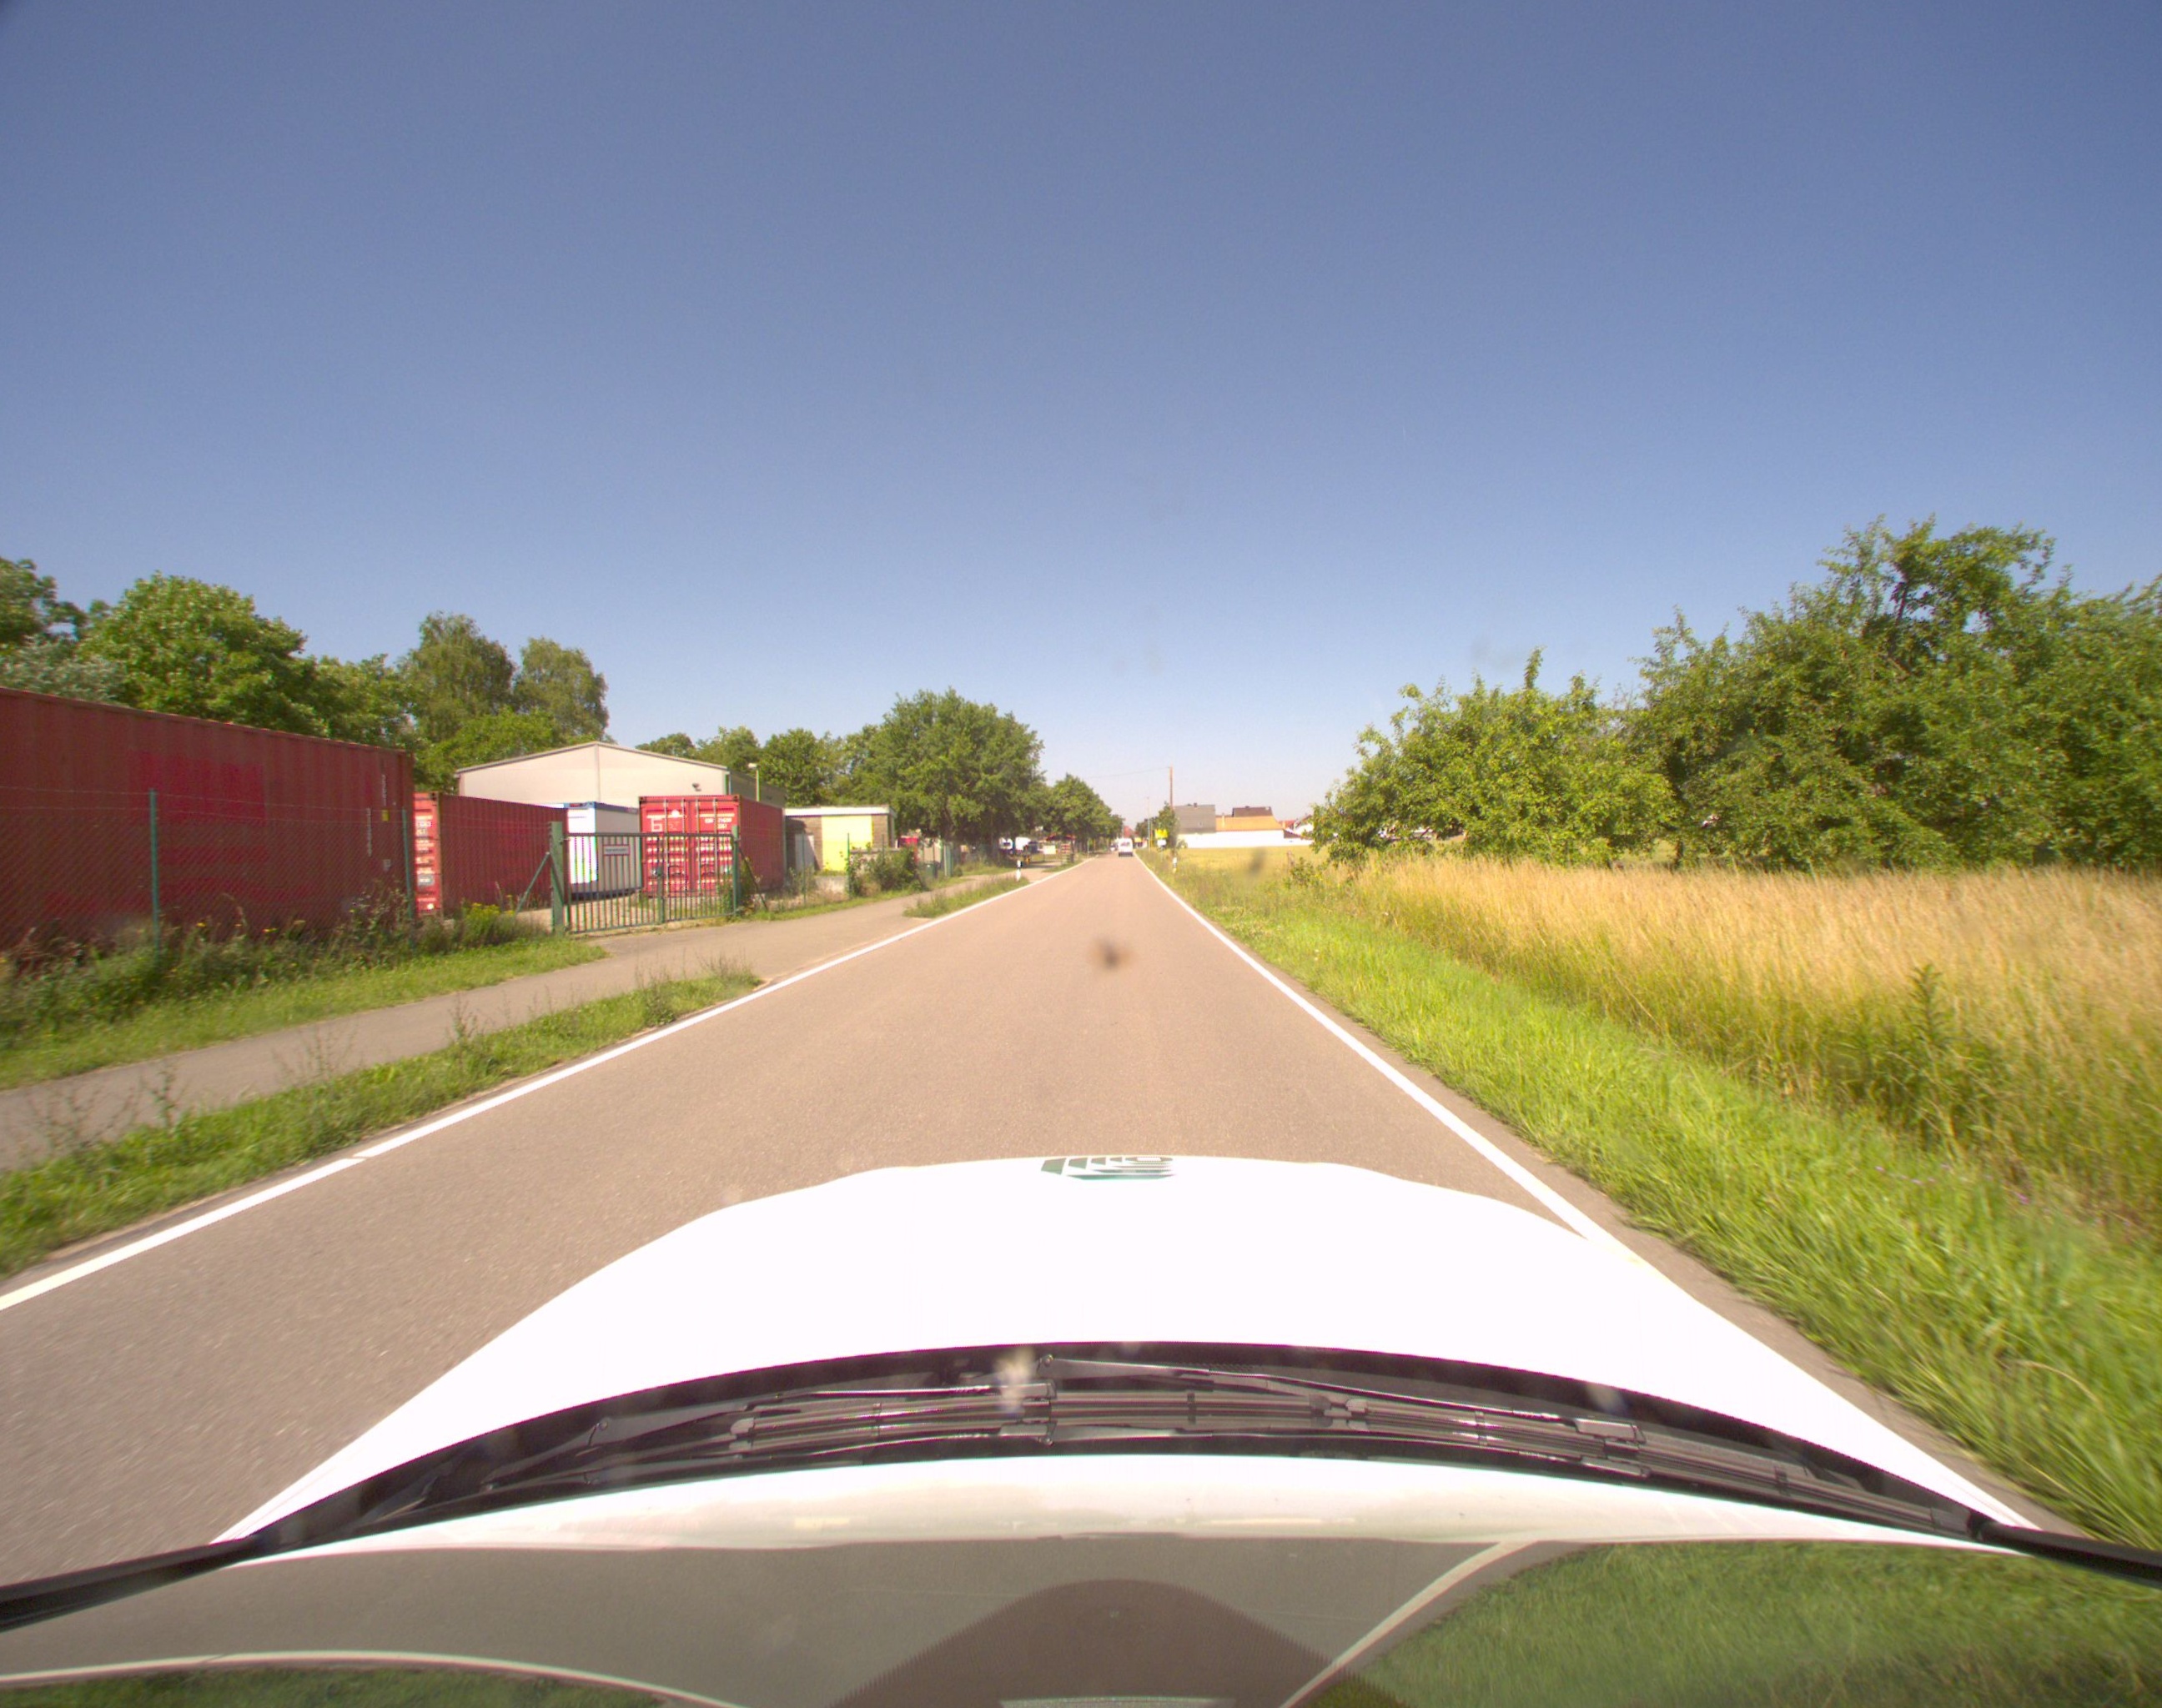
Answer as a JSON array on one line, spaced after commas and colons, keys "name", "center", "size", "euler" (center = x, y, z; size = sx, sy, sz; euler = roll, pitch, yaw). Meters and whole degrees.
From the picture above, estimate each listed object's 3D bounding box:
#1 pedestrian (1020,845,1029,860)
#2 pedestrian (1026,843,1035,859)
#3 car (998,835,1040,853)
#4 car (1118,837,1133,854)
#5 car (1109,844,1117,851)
[{"name": "pedestrian", "center": [-6.402, -0.175, 92.388], "size": [0.671, 1.566, 0.723], "euler": [-2, 0, 22]}, {"name": "pedestrian", "center": [-5.788, -0.315, 93.053], "size": [0.713, 1.803, 0.714], "euler": [-2, 0, 23]}, {"name": "car", "center": [-8.590, -1.379, 112.904], "size": [5.638, 2.266, 1.978], "euler": [-2, 1, -36]}, {"name": "car", "center": [6.268, -1.211, 114.656], "size": [1.985, 2.266, 4.730], "euler": [-2, 0, 3]}, {"name": "car", "center": [7.714, -1.561, 197.427], "size": [1.763, 1.590, 4.004], "euler": [-2, 1, 3]}]
